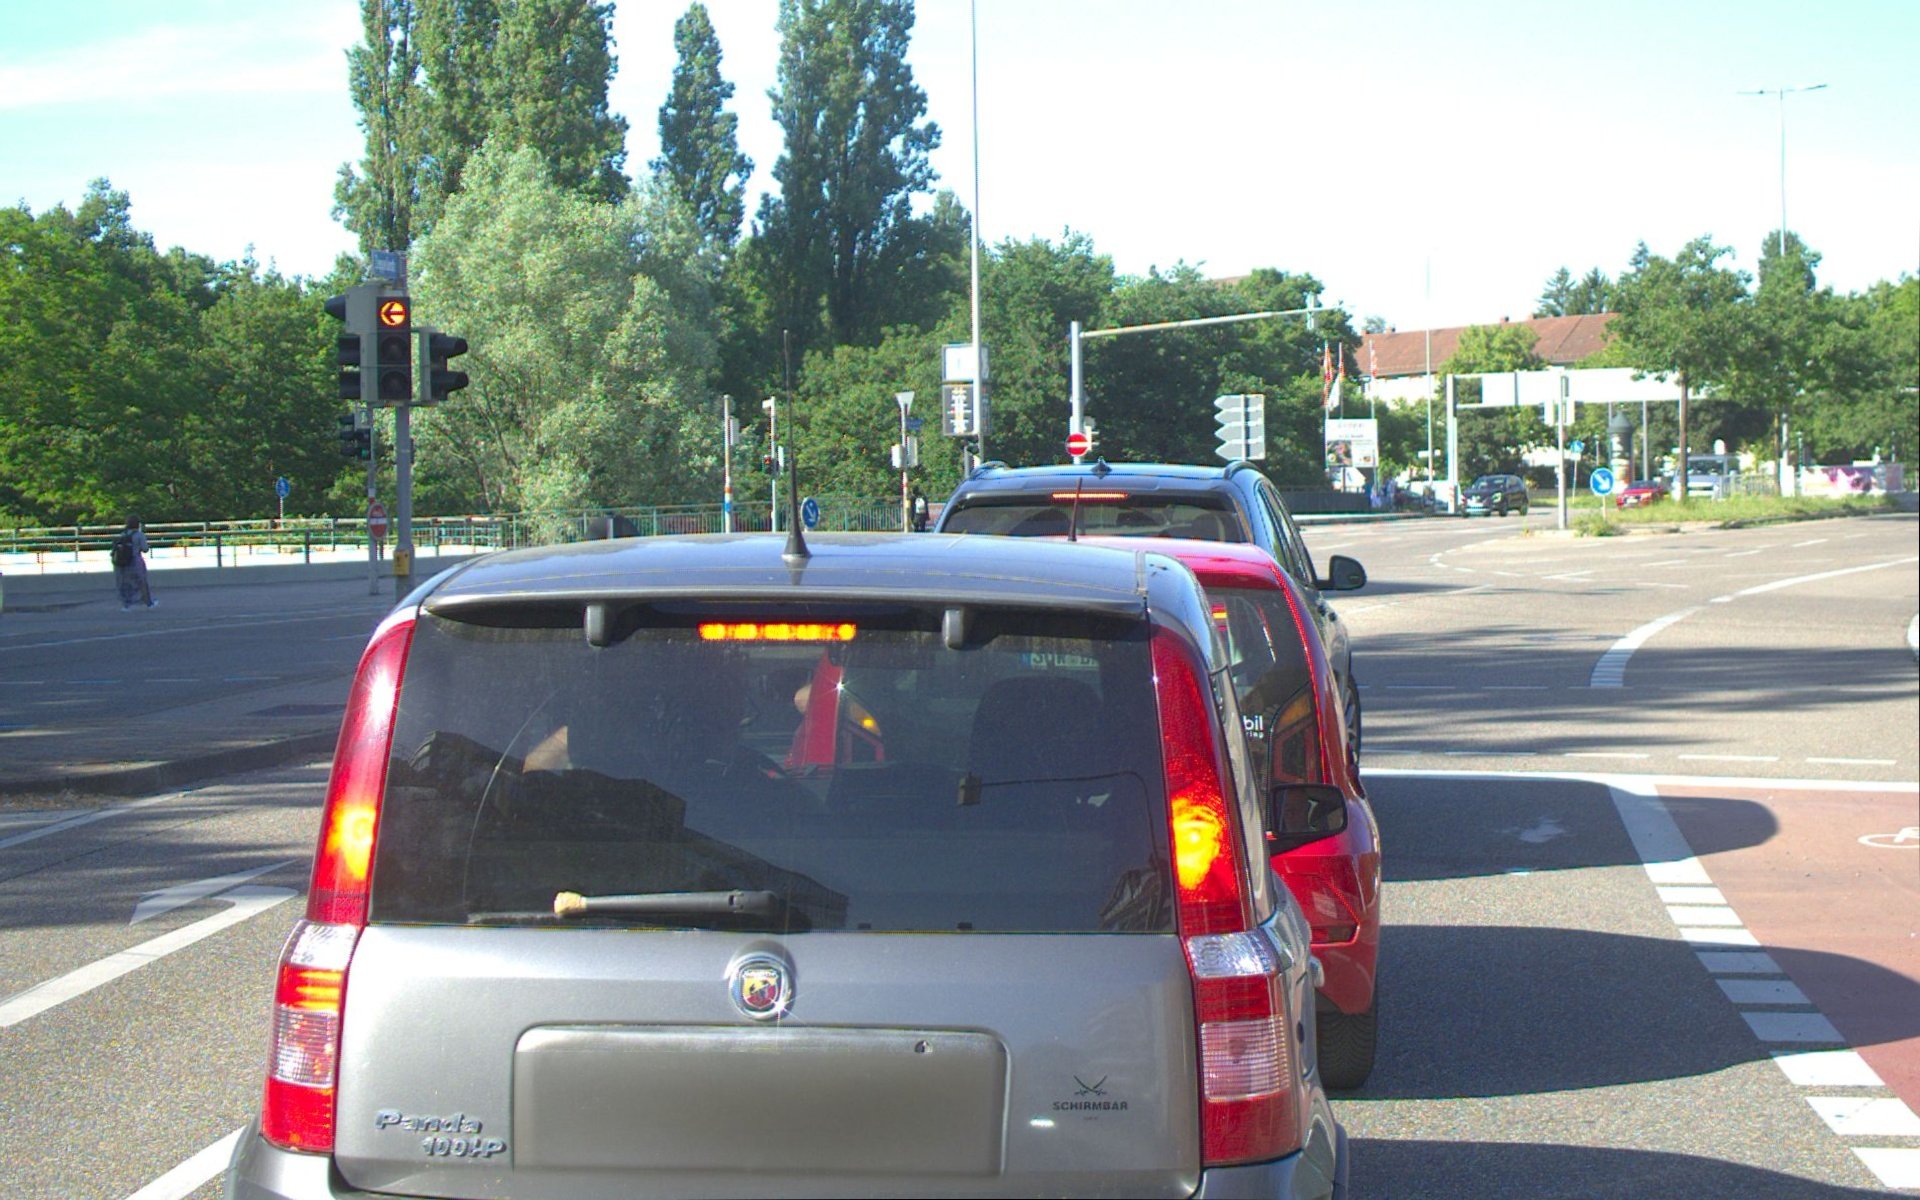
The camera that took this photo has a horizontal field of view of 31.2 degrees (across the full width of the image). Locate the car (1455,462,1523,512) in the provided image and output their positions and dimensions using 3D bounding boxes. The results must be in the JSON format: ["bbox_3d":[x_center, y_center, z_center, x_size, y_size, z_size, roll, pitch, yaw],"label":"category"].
[{"bbox_3d":[21.859,-4.634,141.944,2.015,1.848,4.427,0,-1,19],"label":"car"}]

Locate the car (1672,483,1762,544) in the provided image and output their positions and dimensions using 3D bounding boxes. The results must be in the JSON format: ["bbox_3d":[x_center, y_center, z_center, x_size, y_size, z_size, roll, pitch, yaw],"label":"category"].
[{"bbox_3d":[25.308,-2.859,114.812,2.015,1.848,4.880,0,-1,24],"label":"car"}]

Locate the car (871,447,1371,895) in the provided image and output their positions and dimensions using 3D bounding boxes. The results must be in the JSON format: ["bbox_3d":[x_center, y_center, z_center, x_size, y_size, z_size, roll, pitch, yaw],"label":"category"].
[{"bbox_3d":[0.901,0.208,16.104,1.869,1.784,4.413,1,2,9],"label":"car"}]

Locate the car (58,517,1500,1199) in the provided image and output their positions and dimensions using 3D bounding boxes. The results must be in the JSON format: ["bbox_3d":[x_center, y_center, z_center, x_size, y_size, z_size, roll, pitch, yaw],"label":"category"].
[{"bbox_3d":[-0.142,0.621,6.373,1.820,1.484,4.000,2,2,3],"label":"car"}]

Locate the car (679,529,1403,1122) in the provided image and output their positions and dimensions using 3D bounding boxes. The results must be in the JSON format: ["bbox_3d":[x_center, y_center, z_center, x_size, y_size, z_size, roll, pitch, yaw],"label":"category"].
[{"bbox_3d":[0.283,0.529,10.729,1.820,1.474,4.000,1,1,2],"label":"car"}]

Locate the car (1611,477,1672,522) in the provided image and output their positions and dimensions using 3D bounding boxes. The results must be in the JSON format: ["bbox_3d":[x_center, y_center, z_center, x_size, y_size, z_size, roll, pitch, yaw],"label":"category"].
[{"bbox_3d":[31.208,-4.578,157.372,2.015,1.848,4.881,0,-1,20],"label":"car"}]

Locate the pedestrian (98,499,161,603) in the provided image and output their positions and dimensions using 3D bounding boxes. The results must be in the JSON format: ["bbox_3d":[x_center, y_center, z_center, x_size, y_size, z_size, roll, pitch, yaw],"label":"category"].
[{"bbox_3d":[-12.939,-0.748,53.556,0.686,1.533,1.366,0,-3,-3],"label":"pedestrian"}]
